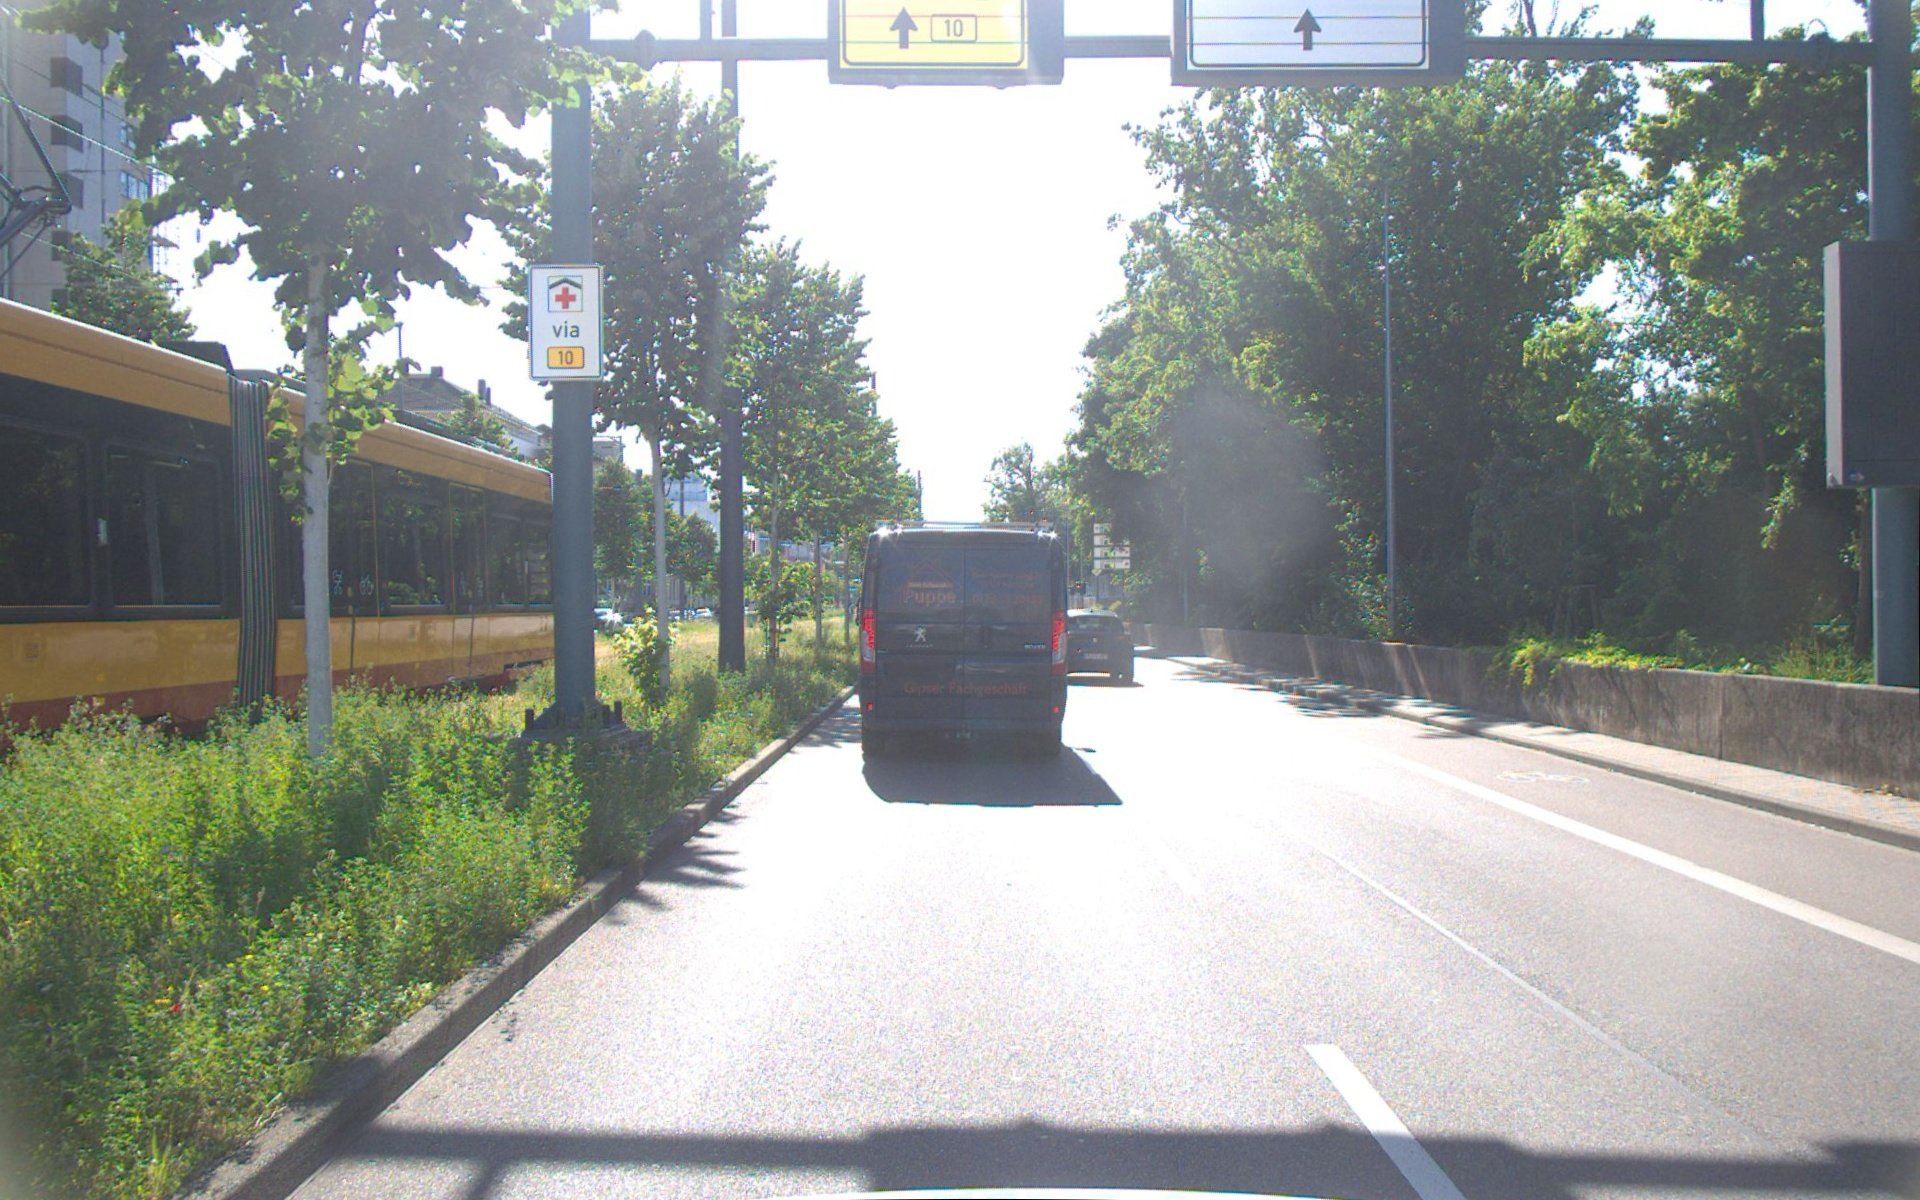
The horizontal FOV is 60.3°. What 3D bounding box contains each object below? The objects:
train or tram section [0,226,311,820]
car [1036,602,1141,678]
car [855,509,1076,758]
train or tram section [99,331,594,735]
[{"bbox_3d":[-7.013,-0.490,9.736,1.953,3.733,11.314,1,0,0],"label":"train or tram section"},{"bbox_3d":[2.618,0.800,34.588,1.728,1.488,3.998,1,0,-2],"label":"car"},{"bbox_3d":[0.020,0.322,17.371,2.040,2.288,3.999,1,0,-1],"label":"car"},{"bbox_3d":[-6.985,-0.597,21.205,1.953,3.733,11.682,1,0,0],"label":"train or tram section"}]
